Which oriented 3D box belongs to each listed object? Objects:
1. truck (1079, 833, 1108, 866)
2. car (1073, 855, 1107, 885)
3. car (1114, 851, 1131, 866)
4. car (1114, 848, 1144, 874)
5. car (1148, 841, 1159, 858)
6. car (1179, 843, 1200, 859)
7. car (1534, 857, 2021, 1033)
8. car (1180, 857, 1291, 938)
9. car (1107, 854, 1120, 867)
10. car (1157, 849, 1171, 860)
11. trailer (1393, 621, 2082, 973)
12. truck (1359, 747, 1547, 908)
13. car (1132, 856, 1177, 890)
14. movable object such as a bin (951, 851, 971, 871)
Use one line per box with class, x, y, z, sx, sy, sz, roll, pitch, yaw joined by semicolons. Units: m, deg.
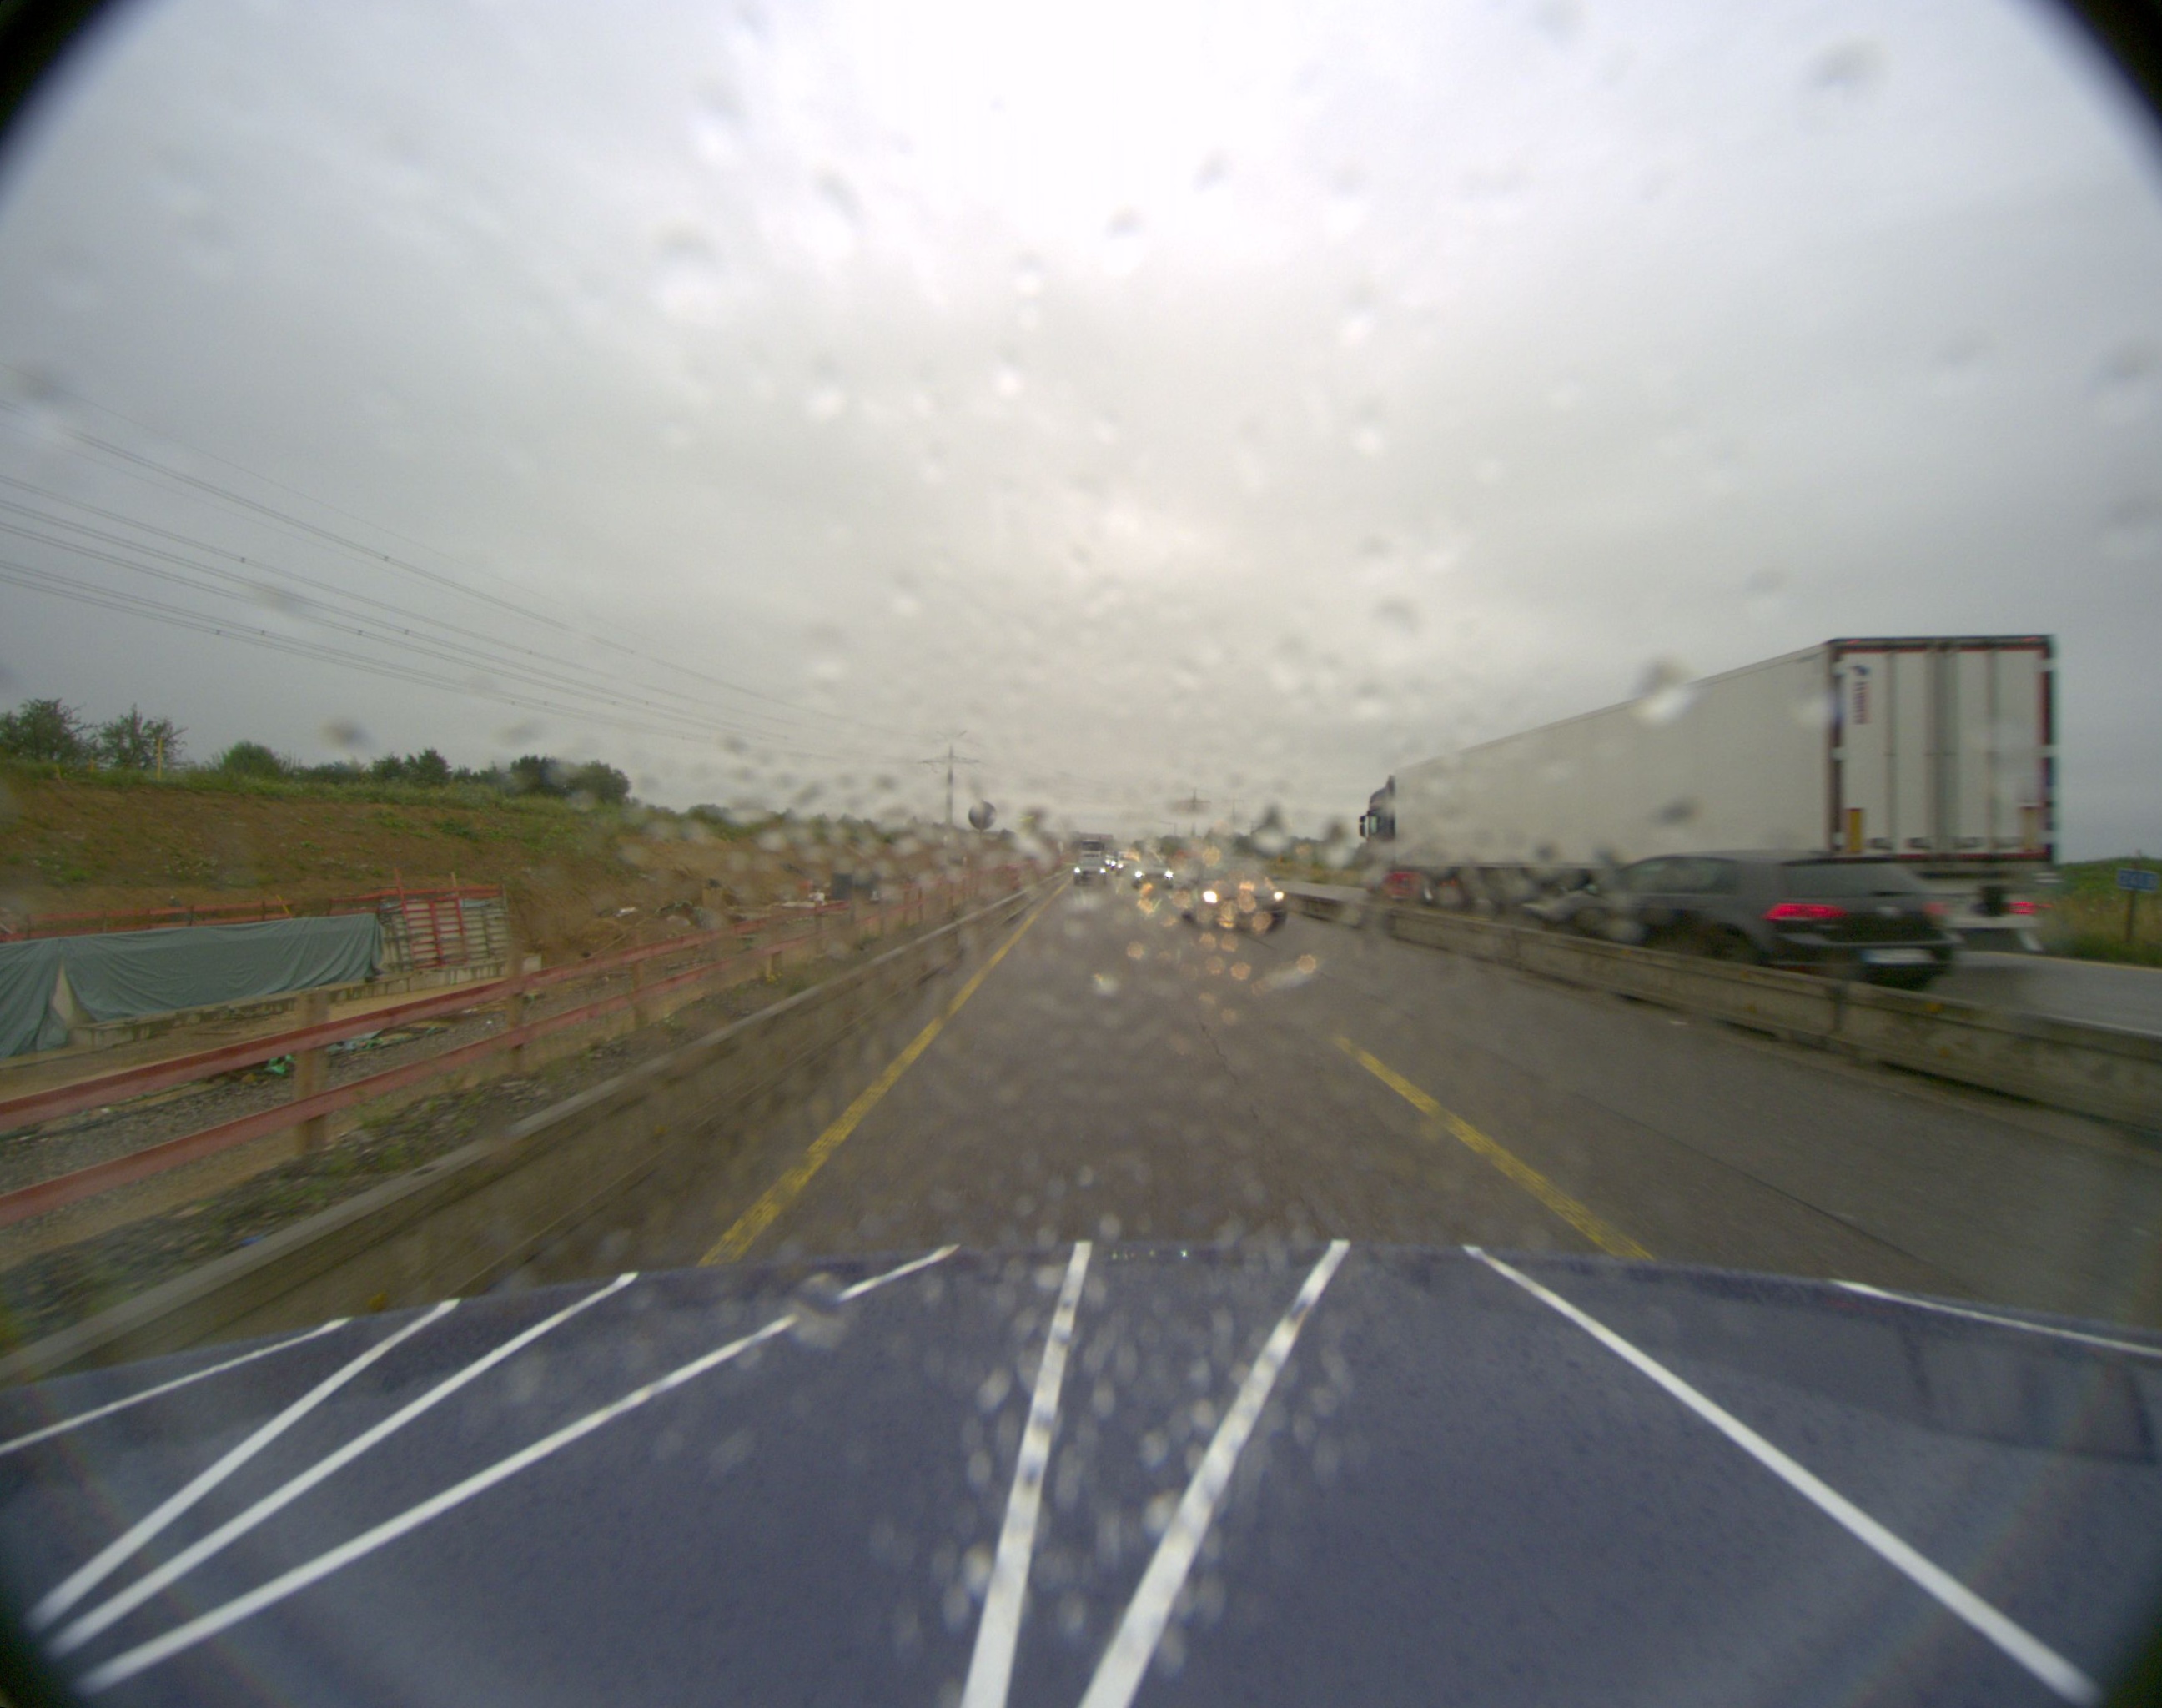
truck;1.562;-0.573;88.854;2.836;3.617;9.121;-2;1;3
car;0.533;0.837;42.659;1.799;1.524;4.308;-2;0;1
car;4.747;0.530;86.227;1.799;1.521;4.068;-2;1;4
car;3.795;0.526;60.806;2.160;1.848;5.179;-2;1;1
car;12.169;-0.791;127.756;1.730;2.707;4.091;-1;1;2
car;11.340;-0.286;79.552;1.730;1.606;4.090;-1;1;1
car;7.117;0.778;8.484;1.722;1.412;4.090;-1;1;1
car;3.191;0.831;16.432;1.653;1.414;4.080;-2;1;2
car;5.014;0.993;116.941;1.799;1.850;4.286;-2;1;0
car;12.154;0.079;111.286;1.730;1.606;4.091;-1;1;2
trailer;10.689;-0.686;15.950;2.793;4.175;13.674;-1;0;1
truck;10.786;-0.693;22.772;2.793;4.157;5.907;-1;0;1
car;3.425;0.850;36.120;1.799;1.389;4.269;-2;1;2
movable object such as a bin;-17.769;1.016;112.716;2.251;2.703;3.999;-2;1;1
